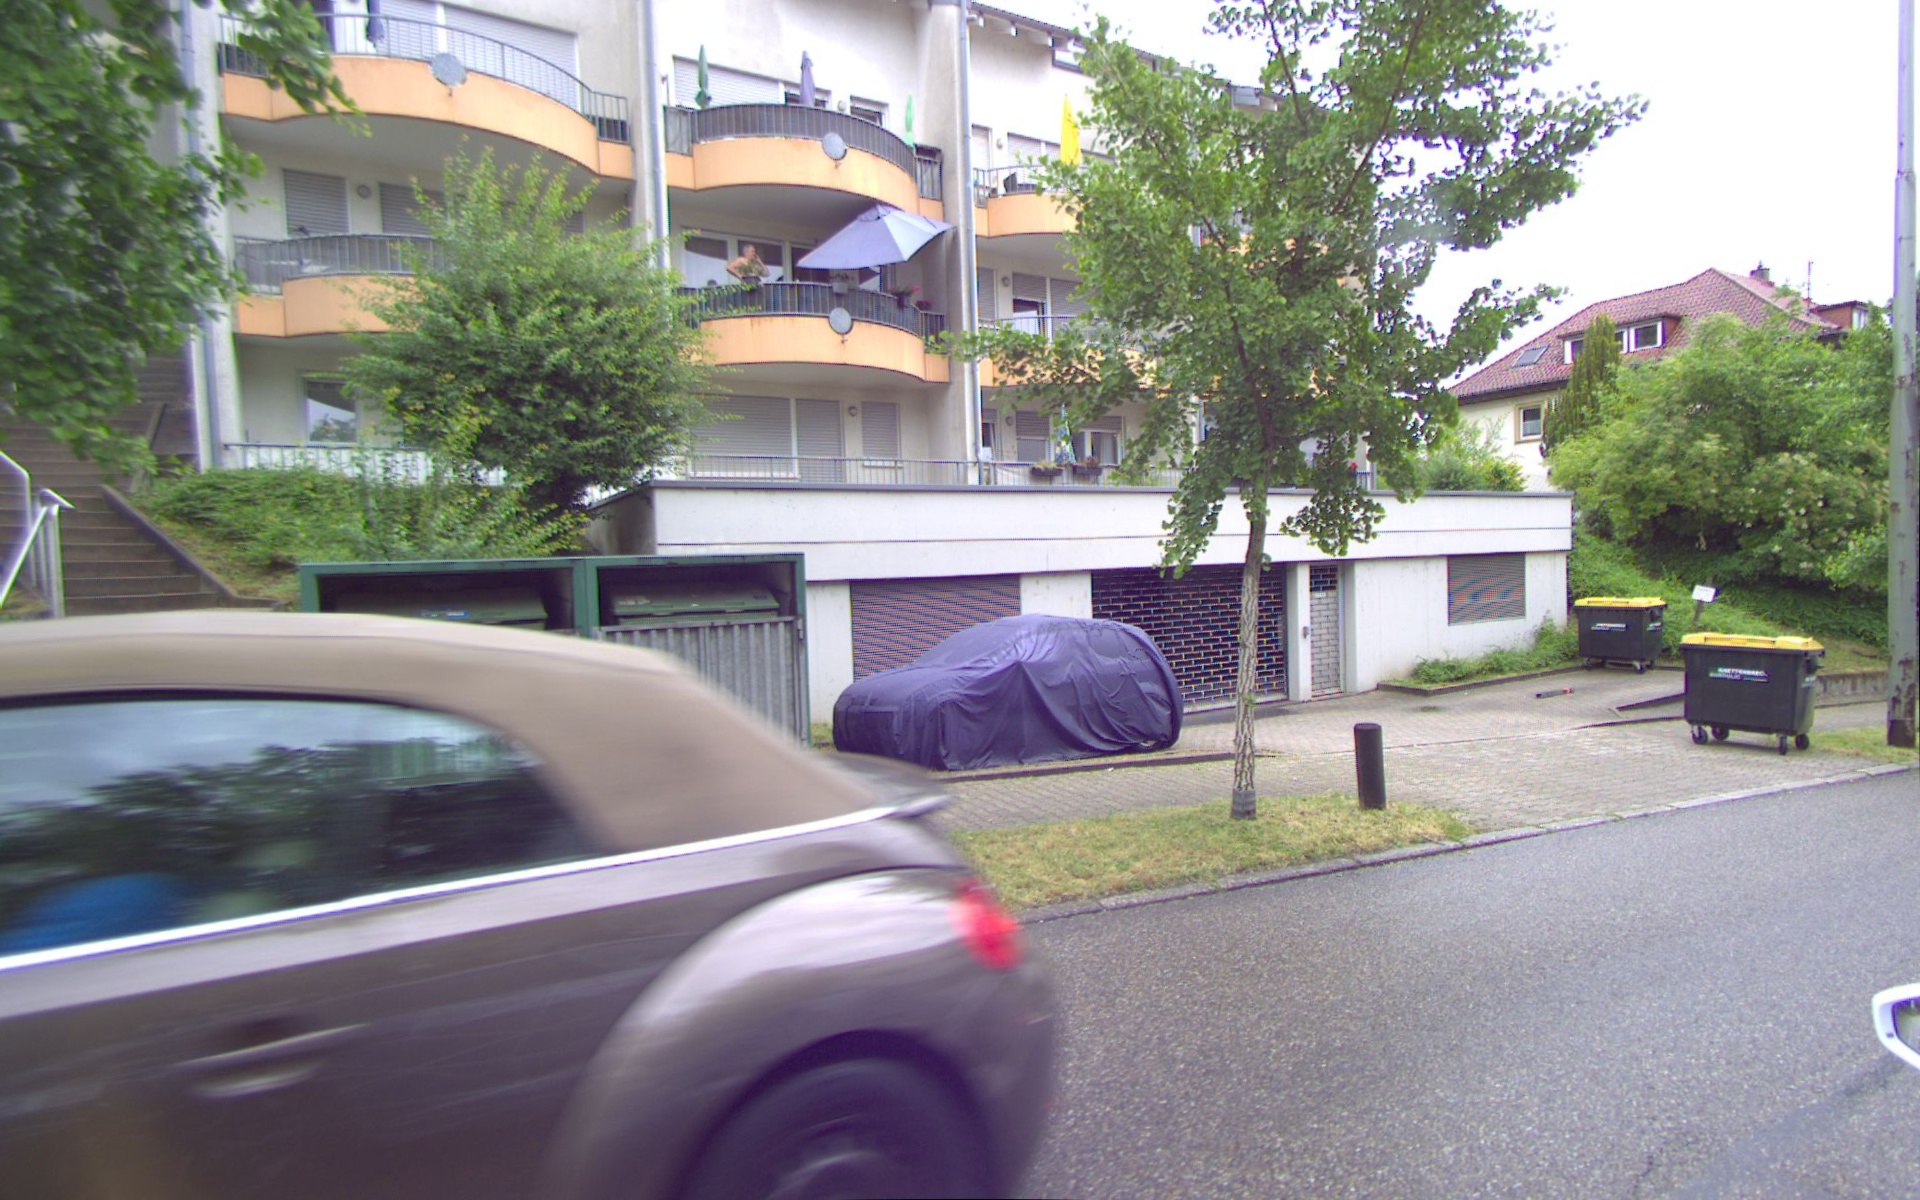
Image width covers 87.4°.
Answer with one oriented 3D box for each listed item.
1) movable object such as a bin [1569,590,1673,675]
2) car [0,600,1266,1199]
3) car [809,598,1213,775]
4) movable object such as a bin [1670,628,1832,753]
[{"bbox_3d":[12.242,0.566,18.614,1.215,1.383,1.288,-7,5,-36],"label":"movable object such as a bin"},{"bbox_3d":[-1.434,0.762,2.041,3.954,1.467,1.769,1,-2,-31],"label":"car"},{"bbox_3d":[0.598,0.861,10.827,4.050,1.581,1.770,1,-4,-31],"label":"car"},{"bbox_3d":[9.502,1.039,12.082,1.145,1.324,1.288,0,1,-38],"label":"movable object such as a bin"}]
